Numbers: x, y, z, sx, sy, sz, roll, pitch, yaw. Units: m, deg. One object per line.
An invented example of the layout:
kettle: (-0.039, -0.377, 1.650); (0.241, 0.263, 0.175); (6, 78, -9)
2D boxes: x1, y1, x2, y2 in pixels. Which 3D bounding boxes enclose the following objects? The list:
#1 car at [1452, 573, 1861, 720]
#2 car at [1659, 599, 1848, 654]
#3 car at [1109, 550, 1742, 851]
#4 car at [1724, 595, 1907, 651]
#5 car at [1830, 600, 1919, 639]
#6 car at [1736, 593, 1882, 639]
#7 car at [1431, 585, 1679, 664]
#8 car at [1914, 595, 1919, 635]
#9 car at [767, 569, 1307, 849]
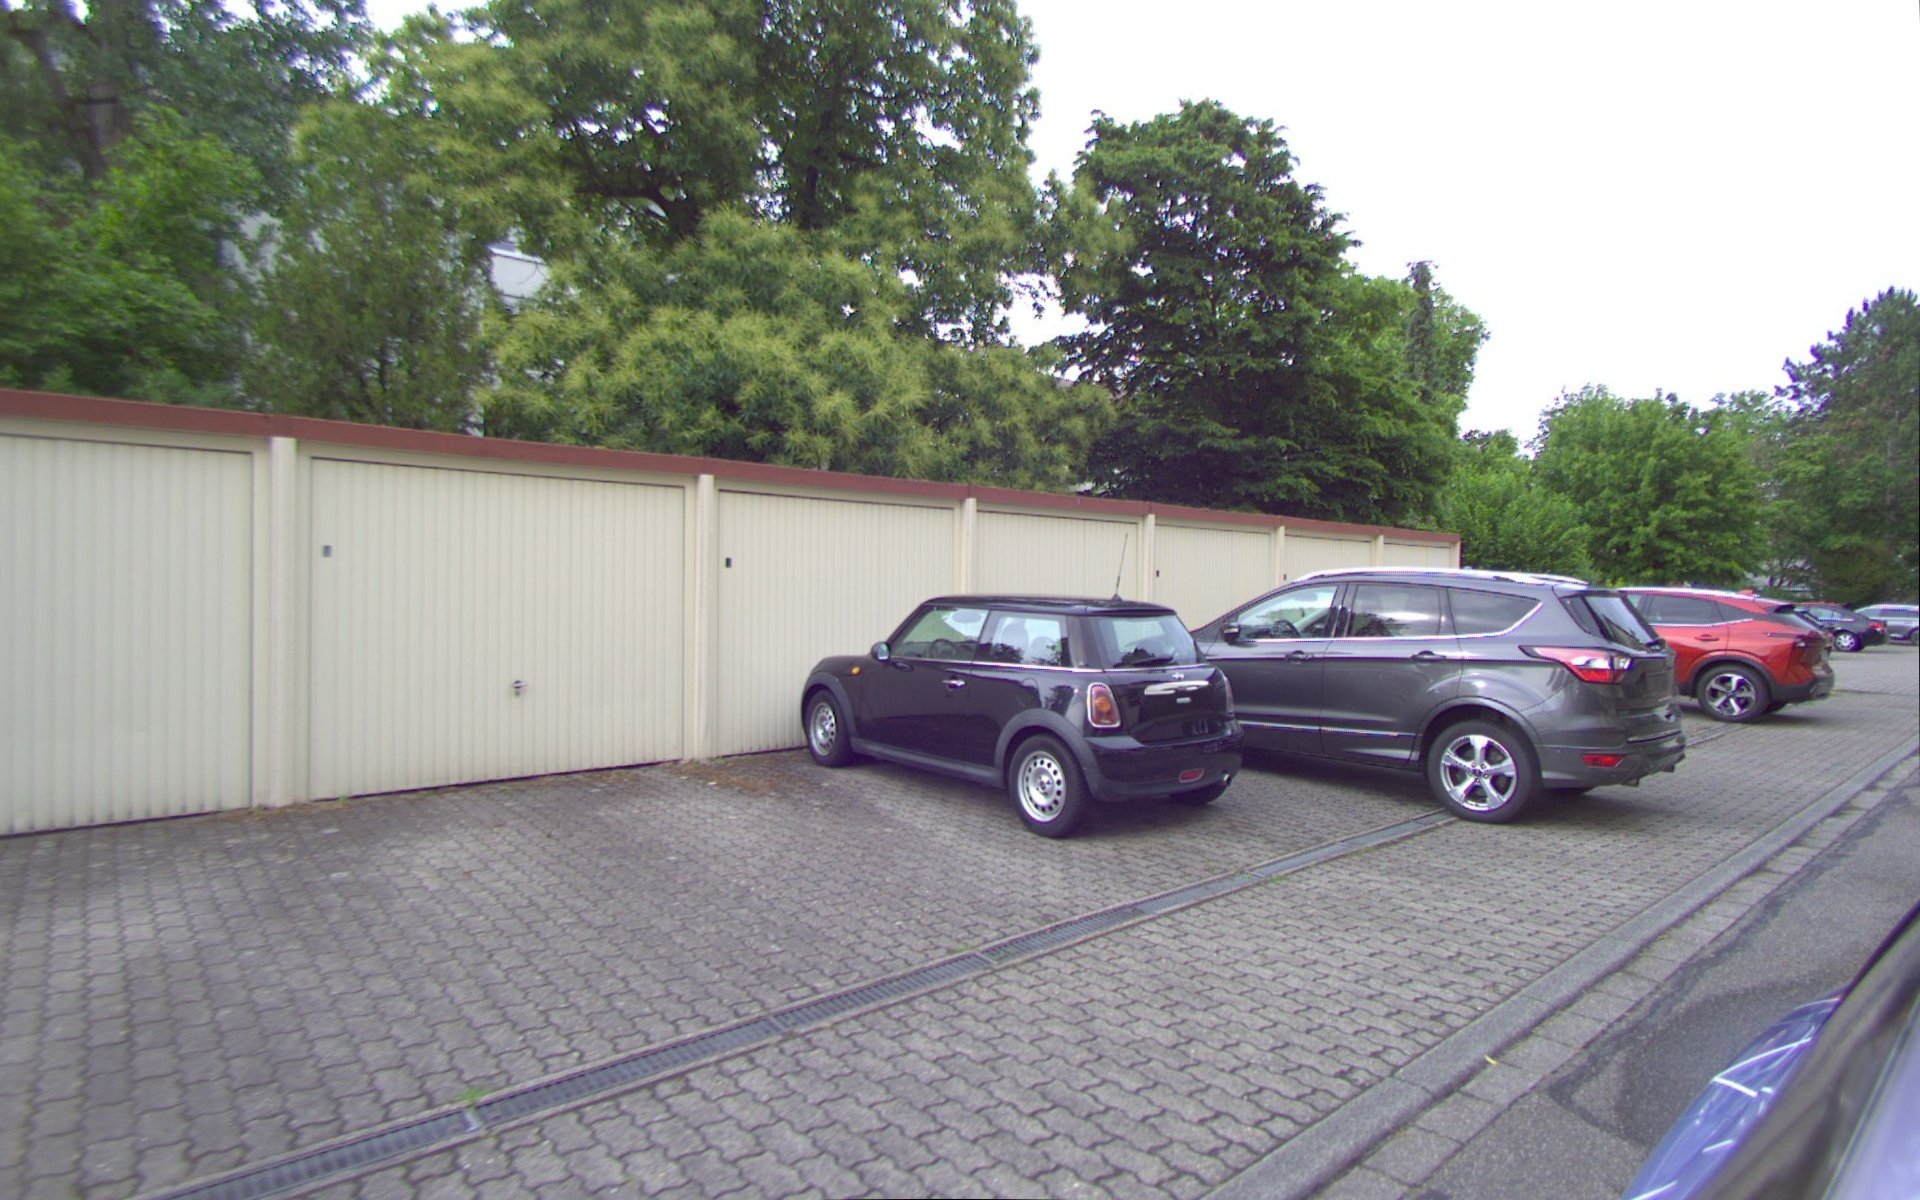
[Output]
car: (9.410, 0.504, 13.970); (1.901, 1.605, 4.296); (0, 2, -41)
car: (22.265, 0.700, 28.510); (1.702, 1.453, 3.970); (0, 0, -43)
car: (3.470, 0.520, 8.206); (1.965, 1.749, 4.204); (1, 2, -41)
car: (28.039, 0.693, 33.295); (1.756, 1.503, 4.334); (1, 3, -40)
car: (36.557, 0.739, 39.251); (1.756, 1.504, 4.099); (0, 0, -41)
car: (33.181, 0.588, 39.633); (1.756, 1.503, 4.103); (1, 3, -40)
car: (13.606, 0.486, 23.368); (1.834, 1.549, 4.582); (0, 1, -41)
car: (41.584, 0.607, 41.034); (1.756, 1.667, 4.099); (0, 0, -41)
car: (0.370, 0.562, 7.641); (1.965, 1.463, 3.765); (0, 2, -41)
